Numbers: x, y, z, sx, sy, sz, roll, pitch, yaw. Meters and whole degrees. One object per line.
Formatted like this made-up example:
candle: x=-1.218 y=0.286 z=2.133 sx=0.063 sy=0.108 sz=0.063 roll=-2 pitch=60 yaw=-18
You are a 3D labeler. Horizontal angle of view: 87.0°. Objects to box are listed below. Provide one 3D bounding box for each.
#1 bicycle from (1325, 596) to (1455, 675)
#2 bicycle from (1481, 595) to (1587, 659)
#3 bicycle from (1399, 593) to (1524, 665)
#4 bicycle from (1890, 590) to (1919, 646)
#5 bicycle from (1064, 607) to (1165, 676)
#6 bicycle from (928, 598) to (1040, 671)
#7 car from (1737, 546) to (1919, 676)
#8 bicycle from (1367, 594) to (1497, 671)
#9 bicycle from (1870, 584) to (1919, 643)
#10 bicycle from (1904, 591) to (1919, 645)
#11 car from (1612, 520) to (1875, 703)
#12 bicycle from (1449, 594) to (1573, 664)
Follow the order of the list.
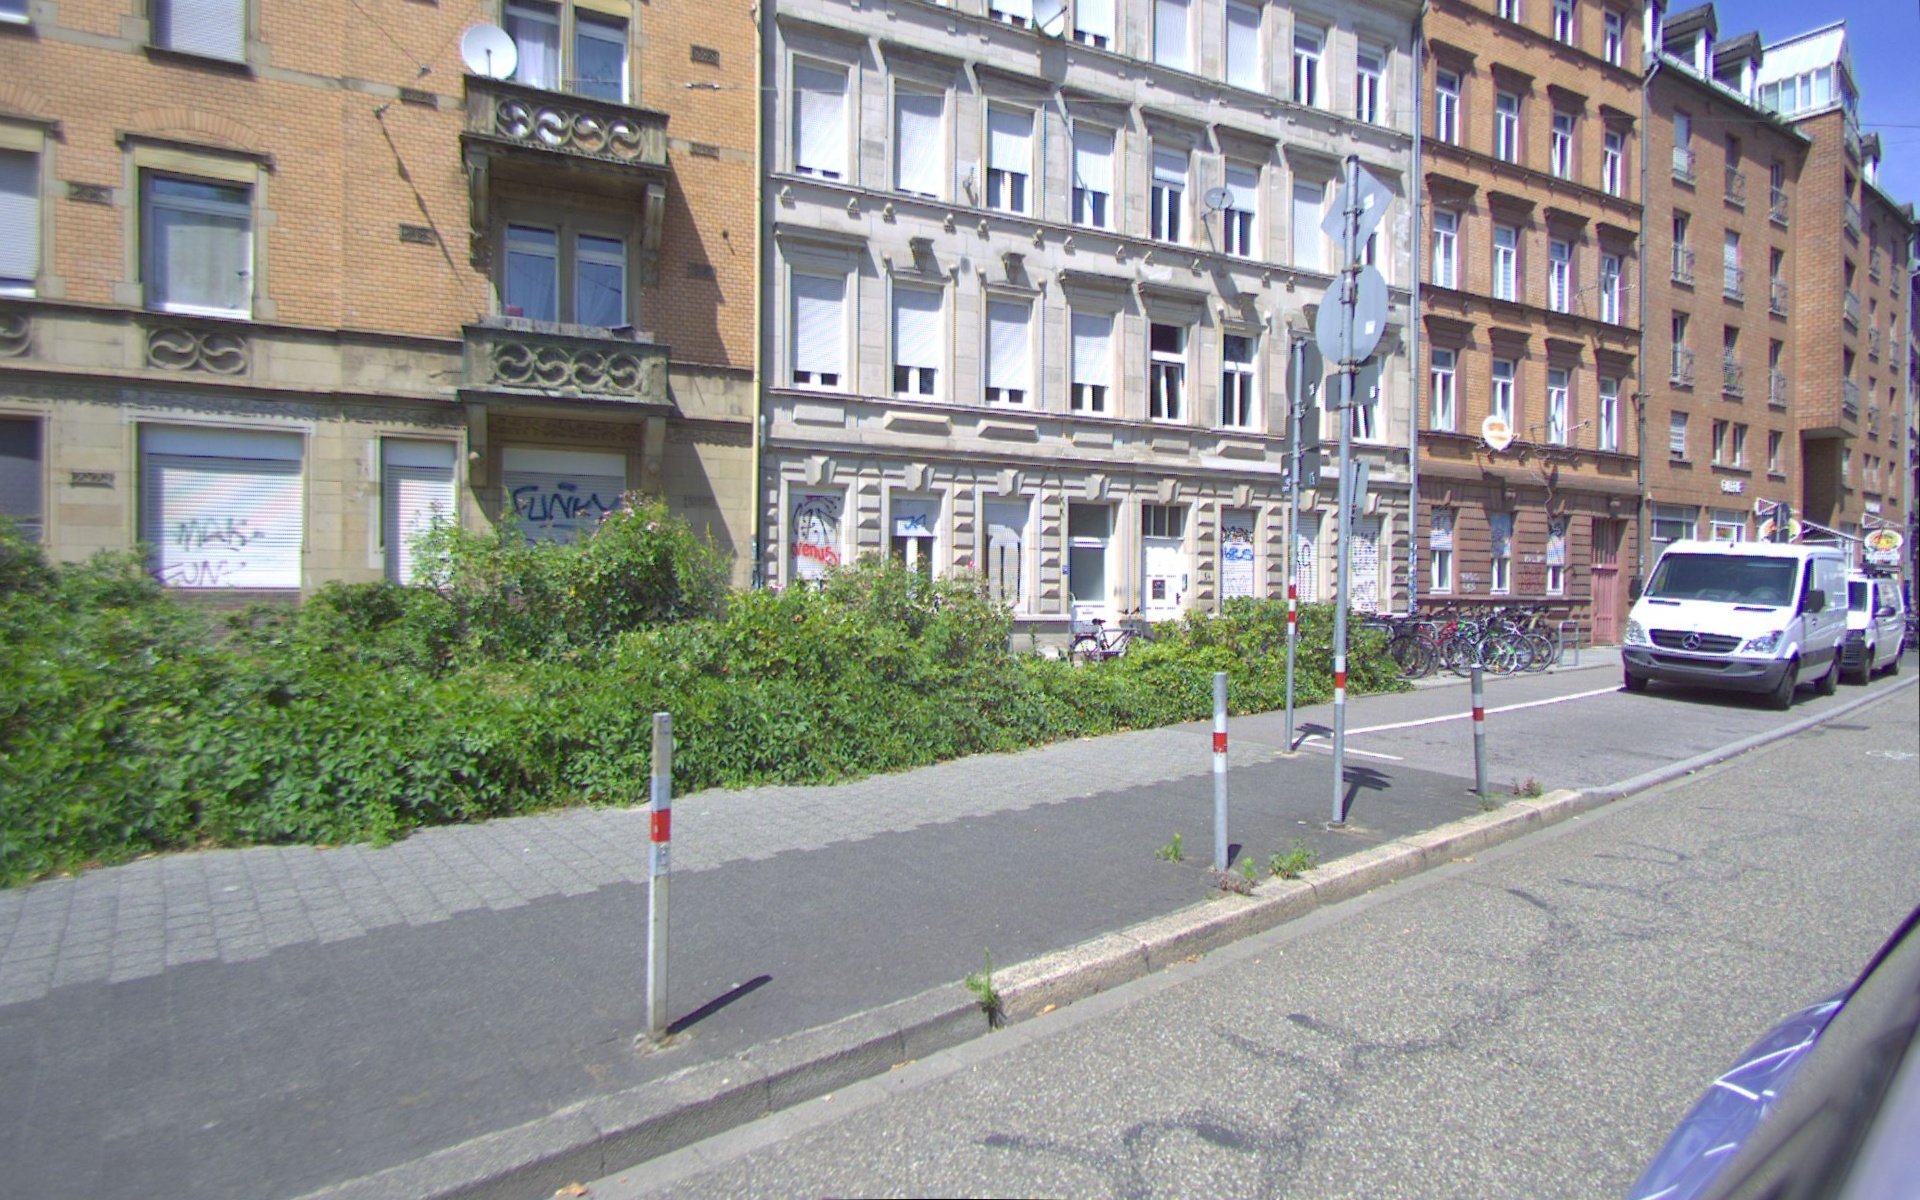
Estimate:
bicycle: x=6.896 y=0.548 z=16.327 sx=0.484 sy=1.195 sz=1.918 roll=0 pitch=0 yaw=-39
bicycle: x=11.180 y=0.515 z=19.718 sx=1.881 sy=1.195 sz=0.493 roll=-1 pitch=-1 yaw=-10
bicycle: x=8.737 y=0.488 z=17.716 sx=0.484 sy=1.195 sz=1.918 roll=0 pitch=0 yaw=-39
bicycle: x=26.697 y=0.492 z=27.530 sx=0.651 sy=1.525 sz=1.942 roll=0 pitch=0 yaw=-28
bicycle: x=2.482 y=0.640 z=16.187 sx=1.735 sy=1.035 sz=0.457 roll=-1 pitch=-1 yaw=-34
bicycle: x=0.384 y=0.495 z=15.314 sx=1.735 sy=1.035 sz=0.457 roll=-1 pitch=-1 yaw=-34
car: x=16.943 y=0.122 z=19.490 sx=5.179 sy=2.161 sz=1.998 roll=-1 pitch=3 yaw=-40
bicycle: x=7.793 y=0.520 z=16.802 sx=0.484 sy=1.195 sz=1.918 roll=0 pitch=0 yaw=-39
bicycle: x=25.190 y=0.356 z=26.454 sx=0.651 sy=1.525 sz=1.942 roll=0 pitch=0 yaw=-28
bicycle: x=27.830 y=0.511 z=28.302 sx=0.651 sy=1.525 sz=1.942 roll=0 pitch=0 yaw=-28
car: x=12.120 y=0.067 z=15.509 sx=5.311 sy=2.358 sz=1.998 roll=-1 pitch=3 yaw=-40
bicycle: x=9.873 y=0.502 z=18.201 sx=0.484 sy=1.195 sz=1.918 roll=0 pitch=0 yaw=-39
